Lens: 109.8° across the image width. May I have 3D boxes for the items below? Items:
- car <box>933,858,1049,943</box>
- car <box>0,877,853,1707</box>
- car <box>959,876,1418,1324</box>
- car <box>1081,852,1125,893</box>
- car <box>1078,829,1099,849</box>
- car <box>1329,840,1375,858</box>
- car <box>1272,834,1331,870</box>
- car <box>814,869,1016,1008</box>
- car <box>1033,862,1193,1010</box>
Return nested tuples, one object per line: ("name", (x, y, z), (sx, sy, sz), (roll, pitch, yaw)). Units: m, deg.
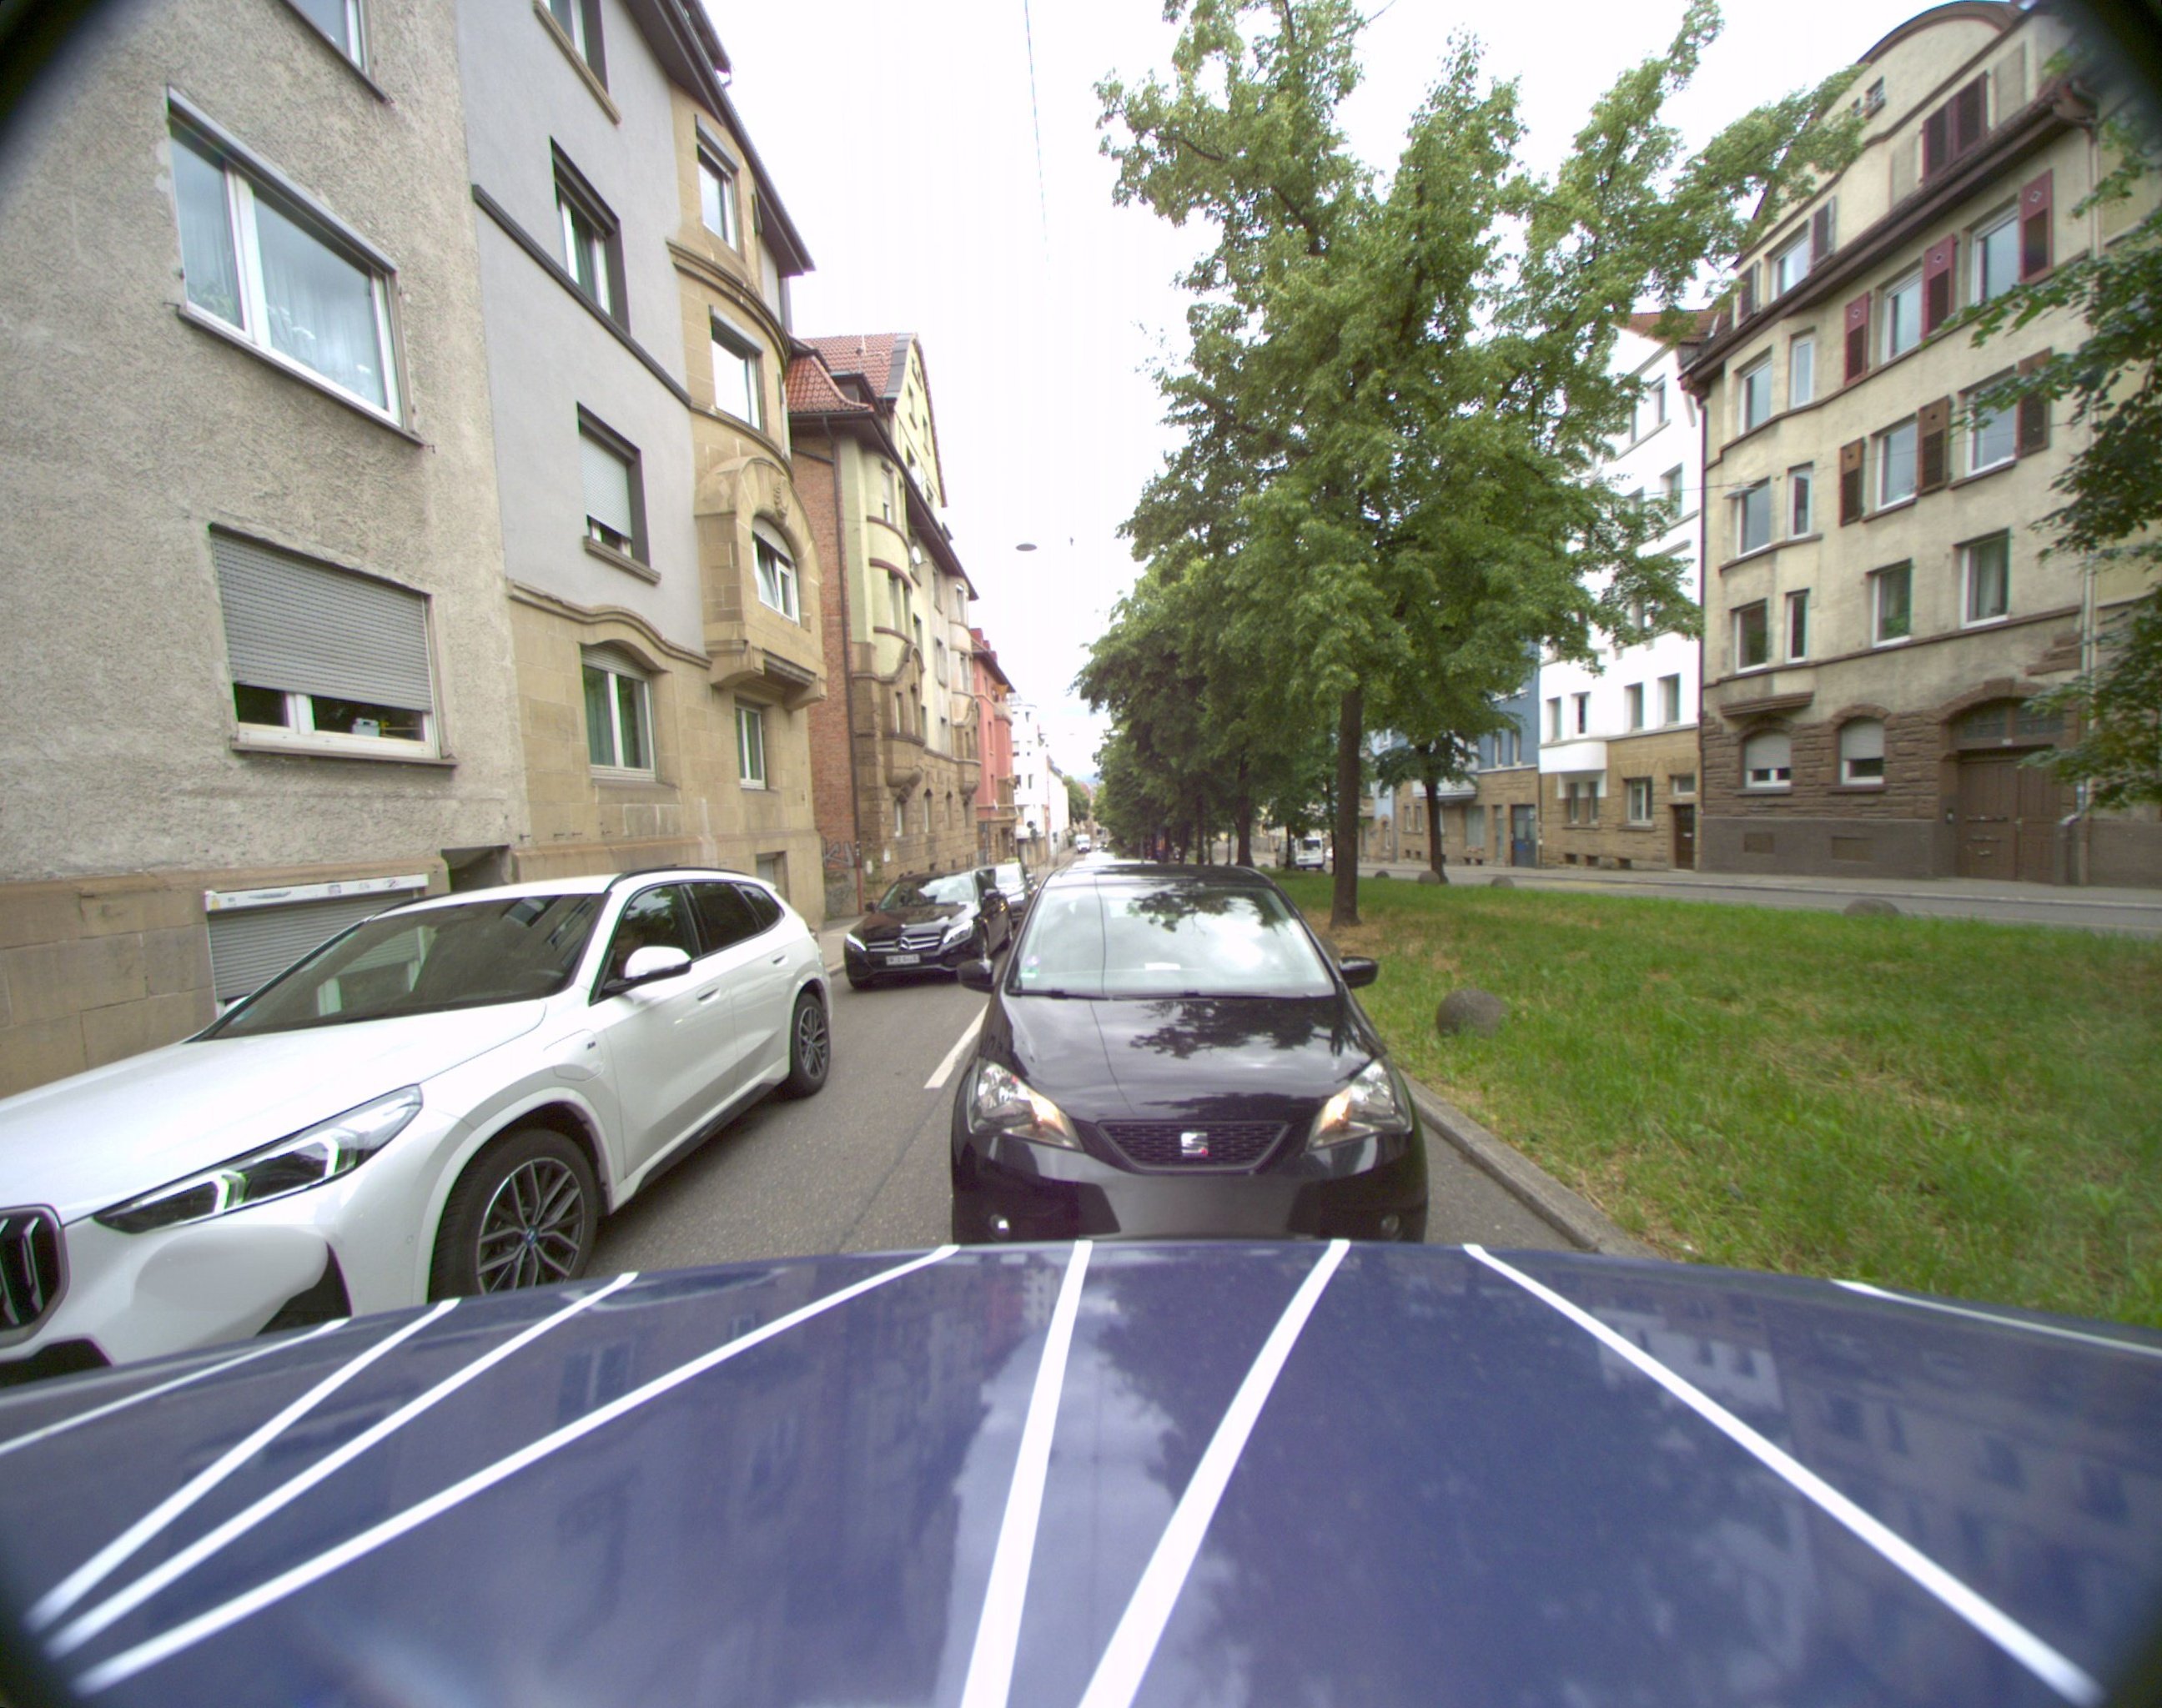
("car", (-1.972, 0.973, 17.947), (1.936, 1.506, 4.303), (-6, 1, 2))
("car", (-2.799, 1.075, 3.750), (1.859, 1.547, 4.350), (-6, 1, 0))
("car", (0.401, 0.924, 4.332), (1.611, 1.457, 3.296), (0, 1, 1))
("car", (0.875, 0.694, 31.147), (1.607, 1.492, 3.737), (-2, 1, 1))
("car", (1.201, -2.311, 118.934), (2.715, 2.879, 6.454), (-2, 1, 4))
("car", (22.446, -0.440, 63.069), (3.291, 1.323, 1.672), (-2, 1, 10))
("car", (13.269, -0.121, 46.016), (1.998, 1.933, 5.307), (-3, 0, 1))
("car", (-2.173, 1.060, 11.239), (1.884, 1.369, 4.205), (-6, 1, 1))
("car", (0.369, 0.906, 9.978), (1.664, 1.456, 3.580), (-2, 1, 1))
